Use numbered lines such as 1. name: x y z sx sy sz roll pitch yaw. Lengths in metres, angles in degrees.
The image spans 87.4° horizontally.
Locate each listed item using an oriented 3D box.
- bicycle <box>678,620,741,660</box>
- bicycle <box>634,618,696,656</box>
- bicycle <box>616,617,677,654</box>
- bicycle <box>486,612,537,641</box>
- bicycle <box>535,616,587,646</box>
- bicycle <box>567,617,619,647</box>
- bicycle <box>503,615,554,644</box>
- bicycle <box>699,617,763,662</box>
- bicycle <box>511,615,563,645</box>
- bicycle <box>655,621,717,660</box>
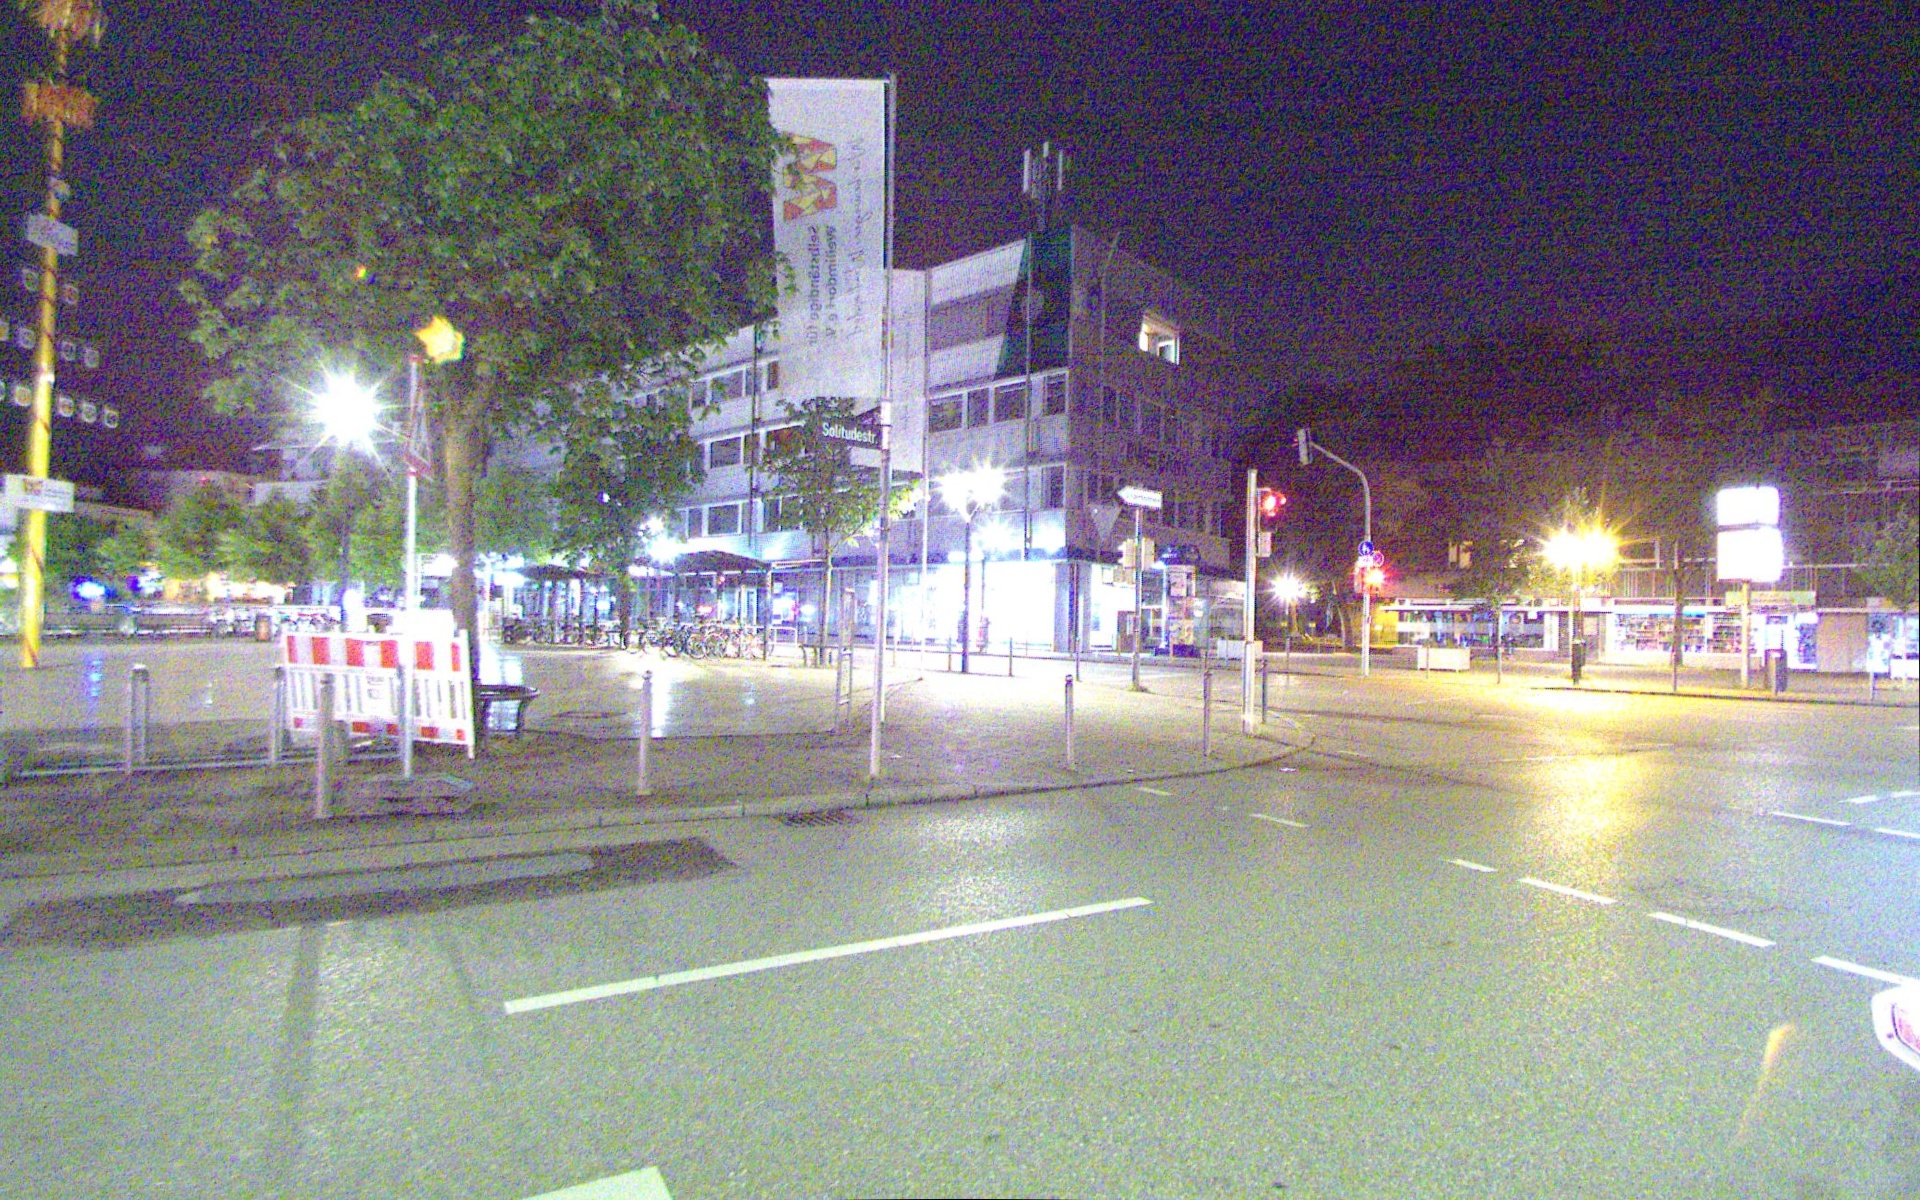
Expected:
1. bicycle: -6.354 1.009 25.529 0.440 0.970 1.525 2 0 43
2. bicycle: -7.863 0.978 26.813 0.473 0.970 1.525 2 0 44
3. bicycle: -8.543 0.960 27.413 0.473 0.970 1.525 2 0 44
4. bicycle: -15.564 0.911 34.873 0.473 0.970 1.525 2 0 44
5. bicycle: -13.139 1.020 33.129 0.473 0.970 1.525 2 0 44
6. bicycle: -12.063 1.054 33.059 0.473 0.970 1.525 2 0 44
7. bicycle: -14.763 1.016 34.362 0.473 0.970 1.525 2 0 44
8. bicycle: -5.663 0.968 24.915 0.440 1.068 1.525 2 0 43
9. bicycle: -14.196 1.005 33.728 0.473 0.970 1.525 2 0 44
10. bicycle: -7.108 1.059 26.118 0.473 0.970 1.525 2 0 44
